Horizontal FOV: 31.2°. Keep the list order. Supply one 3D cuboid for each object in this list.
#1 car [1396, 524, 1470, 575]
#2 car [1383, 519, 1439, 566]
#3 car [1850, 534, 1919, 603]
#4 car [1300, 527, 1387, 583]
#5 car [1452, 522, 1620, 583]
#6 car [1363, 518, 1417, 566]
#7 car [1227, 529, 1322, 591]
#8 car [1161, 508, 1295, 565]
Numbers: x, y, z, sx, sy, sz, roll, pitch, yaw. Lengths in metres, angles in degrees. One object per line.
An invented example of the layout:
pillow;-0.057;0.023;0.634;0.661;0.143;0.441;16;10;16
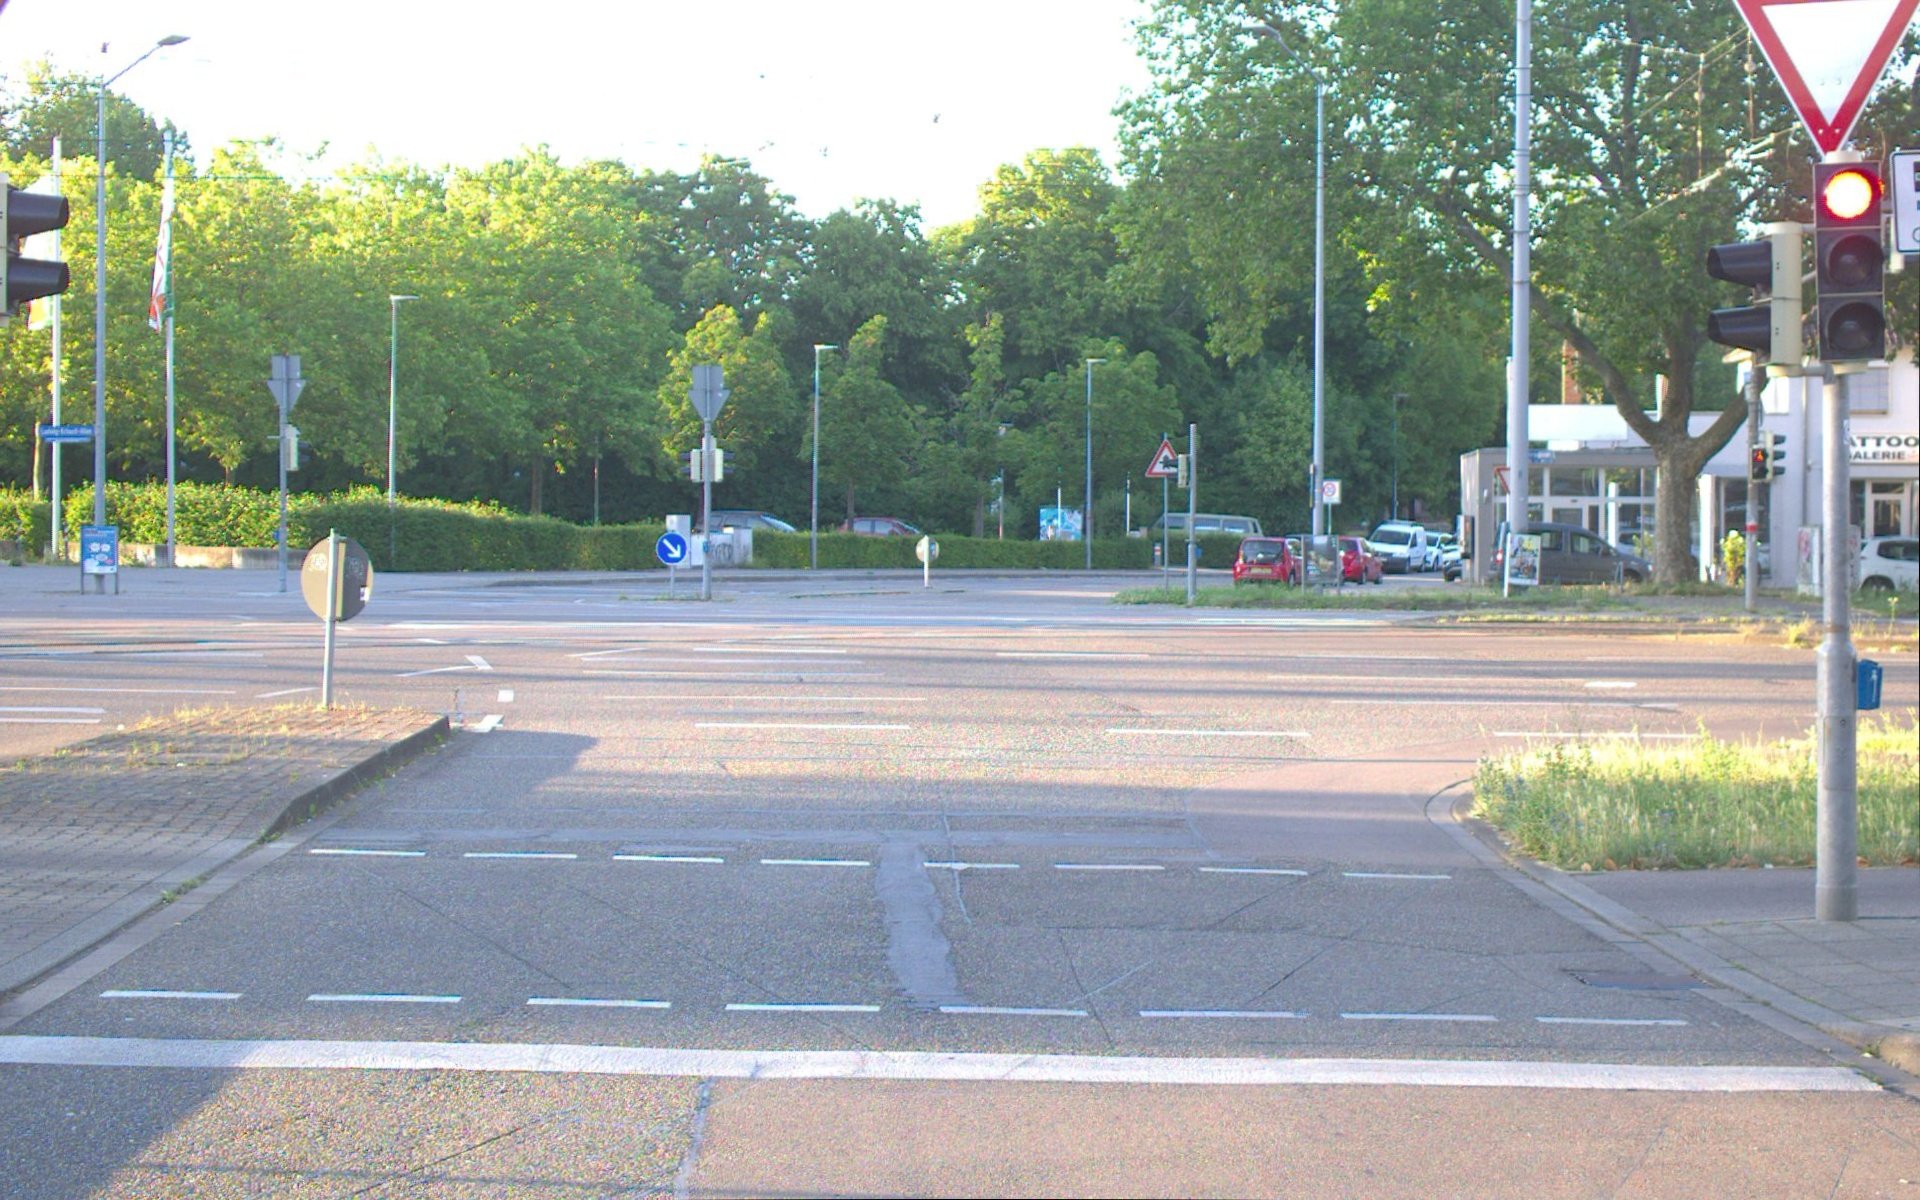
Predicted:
car;15.920;-1.681;115.594;1.995;1.656;3.997;1;0;15
car;17.880;-2.258;136.079;1.864;1.788;3.998;1;0;12
car;20.684;-0.644;72.163;3.741;1.435;1.663;1;0;9
car;11.554;-1.341;103.369;1.995;1.656;3.997;1;0;15
car;14.910;-1.219;89.164;4.220;1.547;1.999;1;0;7
car;16.425;-2.195;131.185;1.864;1.788;3.998;1;0;10
car;8.775;-1.102;95.683;1.995;1.656;3.997;1;0;15
car;9.780;-2.323;125.870;4.774;1.999;2.000;0;0;2
